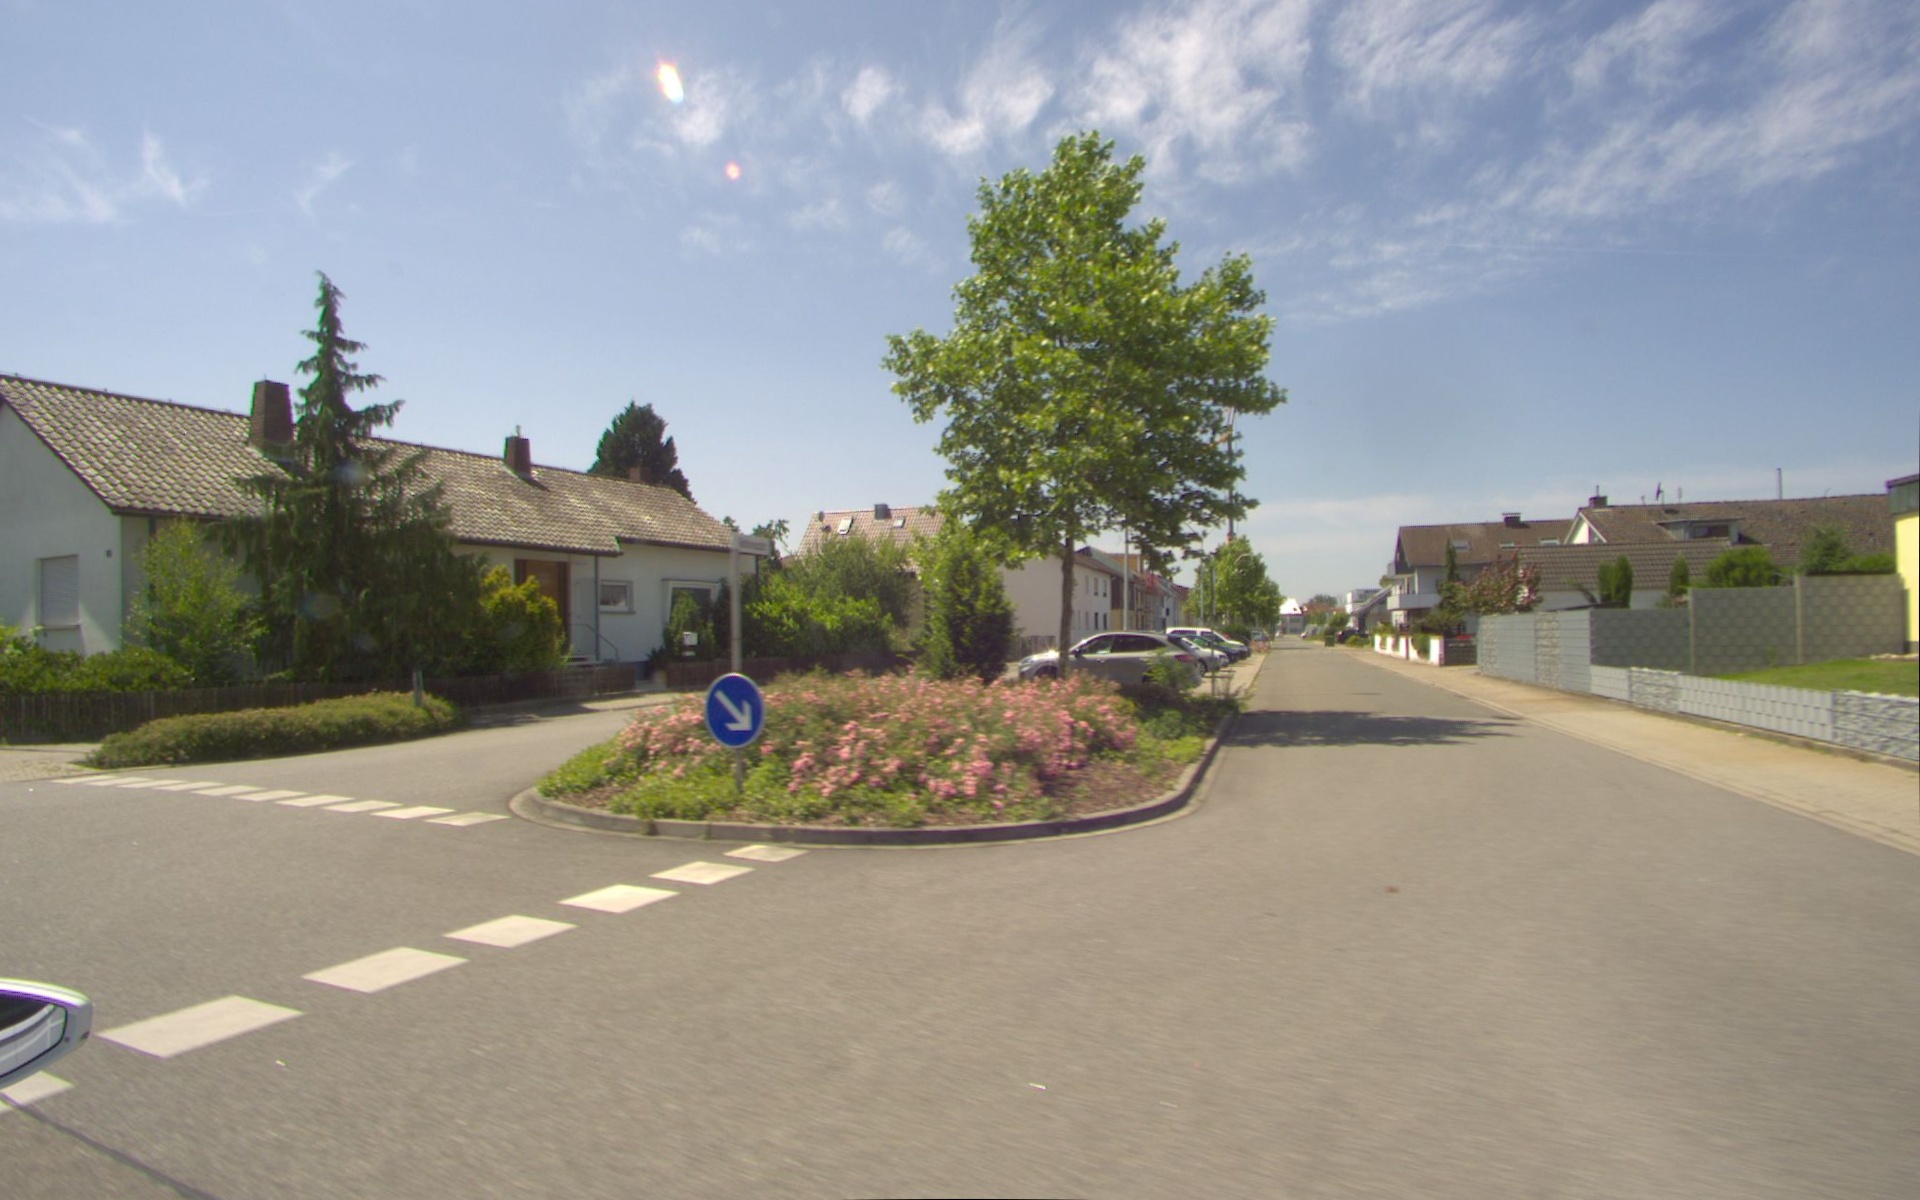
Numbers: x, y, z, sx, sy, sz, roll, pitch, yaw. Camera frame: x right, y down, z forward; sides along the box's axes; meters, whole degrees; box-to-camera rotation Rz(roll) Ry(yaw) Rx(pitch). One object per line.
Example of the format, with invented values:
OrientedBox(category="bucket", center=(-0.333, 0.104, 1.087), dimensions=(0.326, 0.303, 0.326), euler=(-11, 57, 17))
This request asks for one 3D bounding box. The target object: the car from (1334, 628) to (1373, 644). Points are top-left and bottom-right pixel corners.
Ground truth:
OrientedBox(category="car", center=(44.986, 4.114, 114.528), dimensions=(3.926, 1.861, 1.999), euler=(-1, -2, 14))

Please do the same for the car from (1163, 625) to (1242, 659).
OrientedBox(category="car", center=(12.665, 2.207, 52.269), dimensions=(3.928, 1.718, 1.759), euler=(-1, -3, 17))

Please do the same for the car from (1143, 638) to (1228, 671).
OrientedBox(category="car", center=(9.666, 2.341, 42.898), dimensions=(3.442, 1.373, 1.514), euler=(-1, -4, 19))

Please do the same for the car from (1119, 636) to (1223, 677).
OrientedBox(category="car", center=(7.899, 2.102, 37.398), dimensions=(3.626, 1.450, 1.643), euler=(-1, -2, 19))

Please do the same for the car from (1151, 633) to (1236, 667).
OrientedBox(category="car", center=(11.471, 2.446, 49.112), dimensions=(3.928, 1.616, 1.758), euler=(-1, -2, 17))

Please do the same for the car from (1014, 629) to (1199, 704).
OrientedBox(category="car", center=(3.636, 1.620, 24.730), dimensions=(4.369, 1.764, 1.645), euler=(-1, -2, 13))
